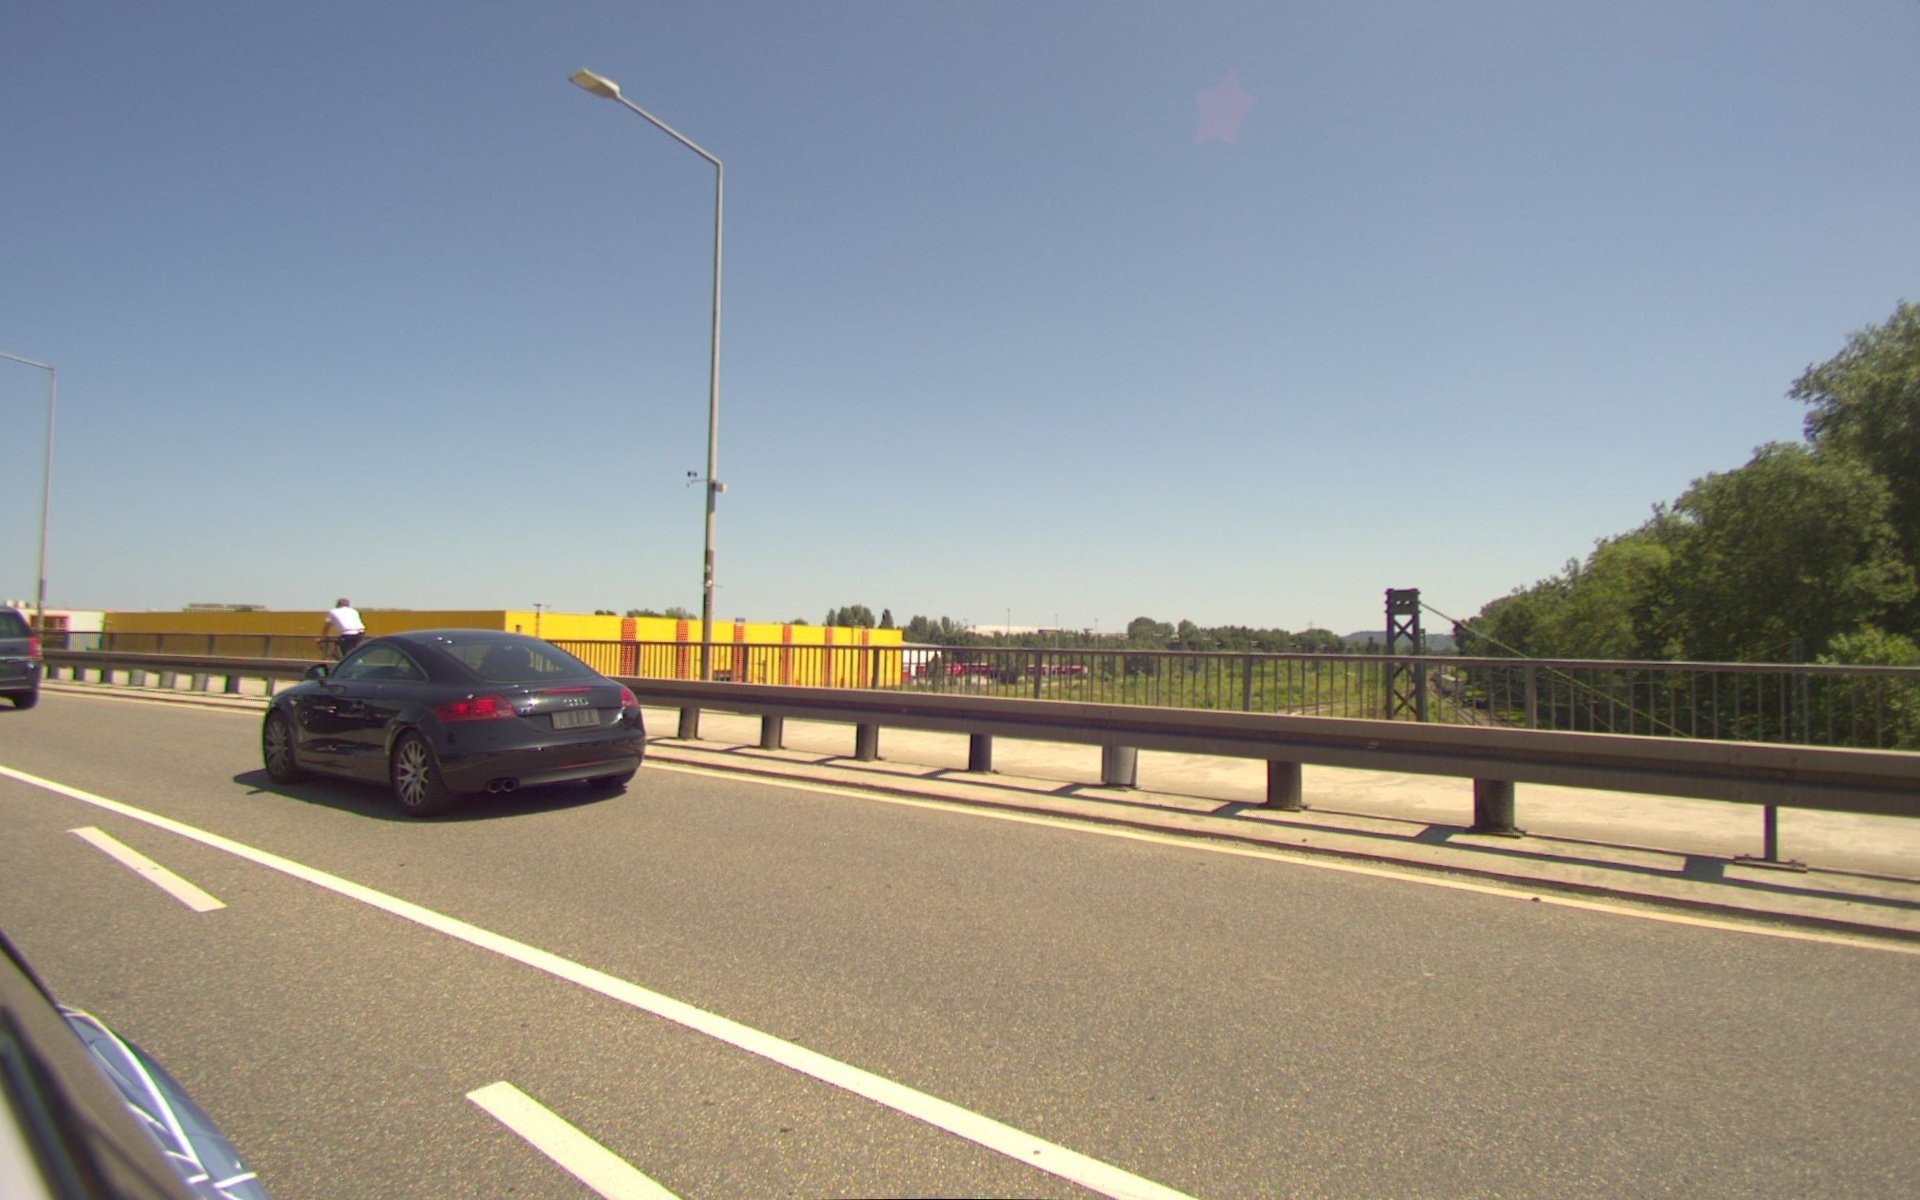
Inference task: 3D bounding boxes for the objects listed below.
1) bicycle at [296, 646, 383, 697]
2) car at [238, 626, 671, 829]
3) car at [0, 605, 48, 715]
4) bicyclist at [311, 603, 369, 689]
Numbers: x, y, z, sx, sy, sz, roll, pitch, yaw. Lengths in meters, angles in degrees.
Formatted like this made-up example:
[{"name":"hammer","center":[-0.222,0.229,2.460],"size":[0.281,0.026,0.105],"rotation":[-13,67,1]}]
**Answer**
[{"name":"bicycle","center":[-11.363,1.287,18.503],"size":[1.986,0.840,0.583],"rotation":[-1,-1,34]},{"name":"car","center":[-4.378,0.893,8.549],"size":[3.965,1.318,1.663],"rotation":[-1,-1,36]},{"name":"car","center":[-16.320,0.921,16.004],"size":[4.238,1.639,1.694],"rotation":[-1,-1,32]},{"name":"bicyclist","center":[-11.330,0.823,18.483],"size":[0.893,1.533,0.578],"rotation":[-1,-1,34]}]
